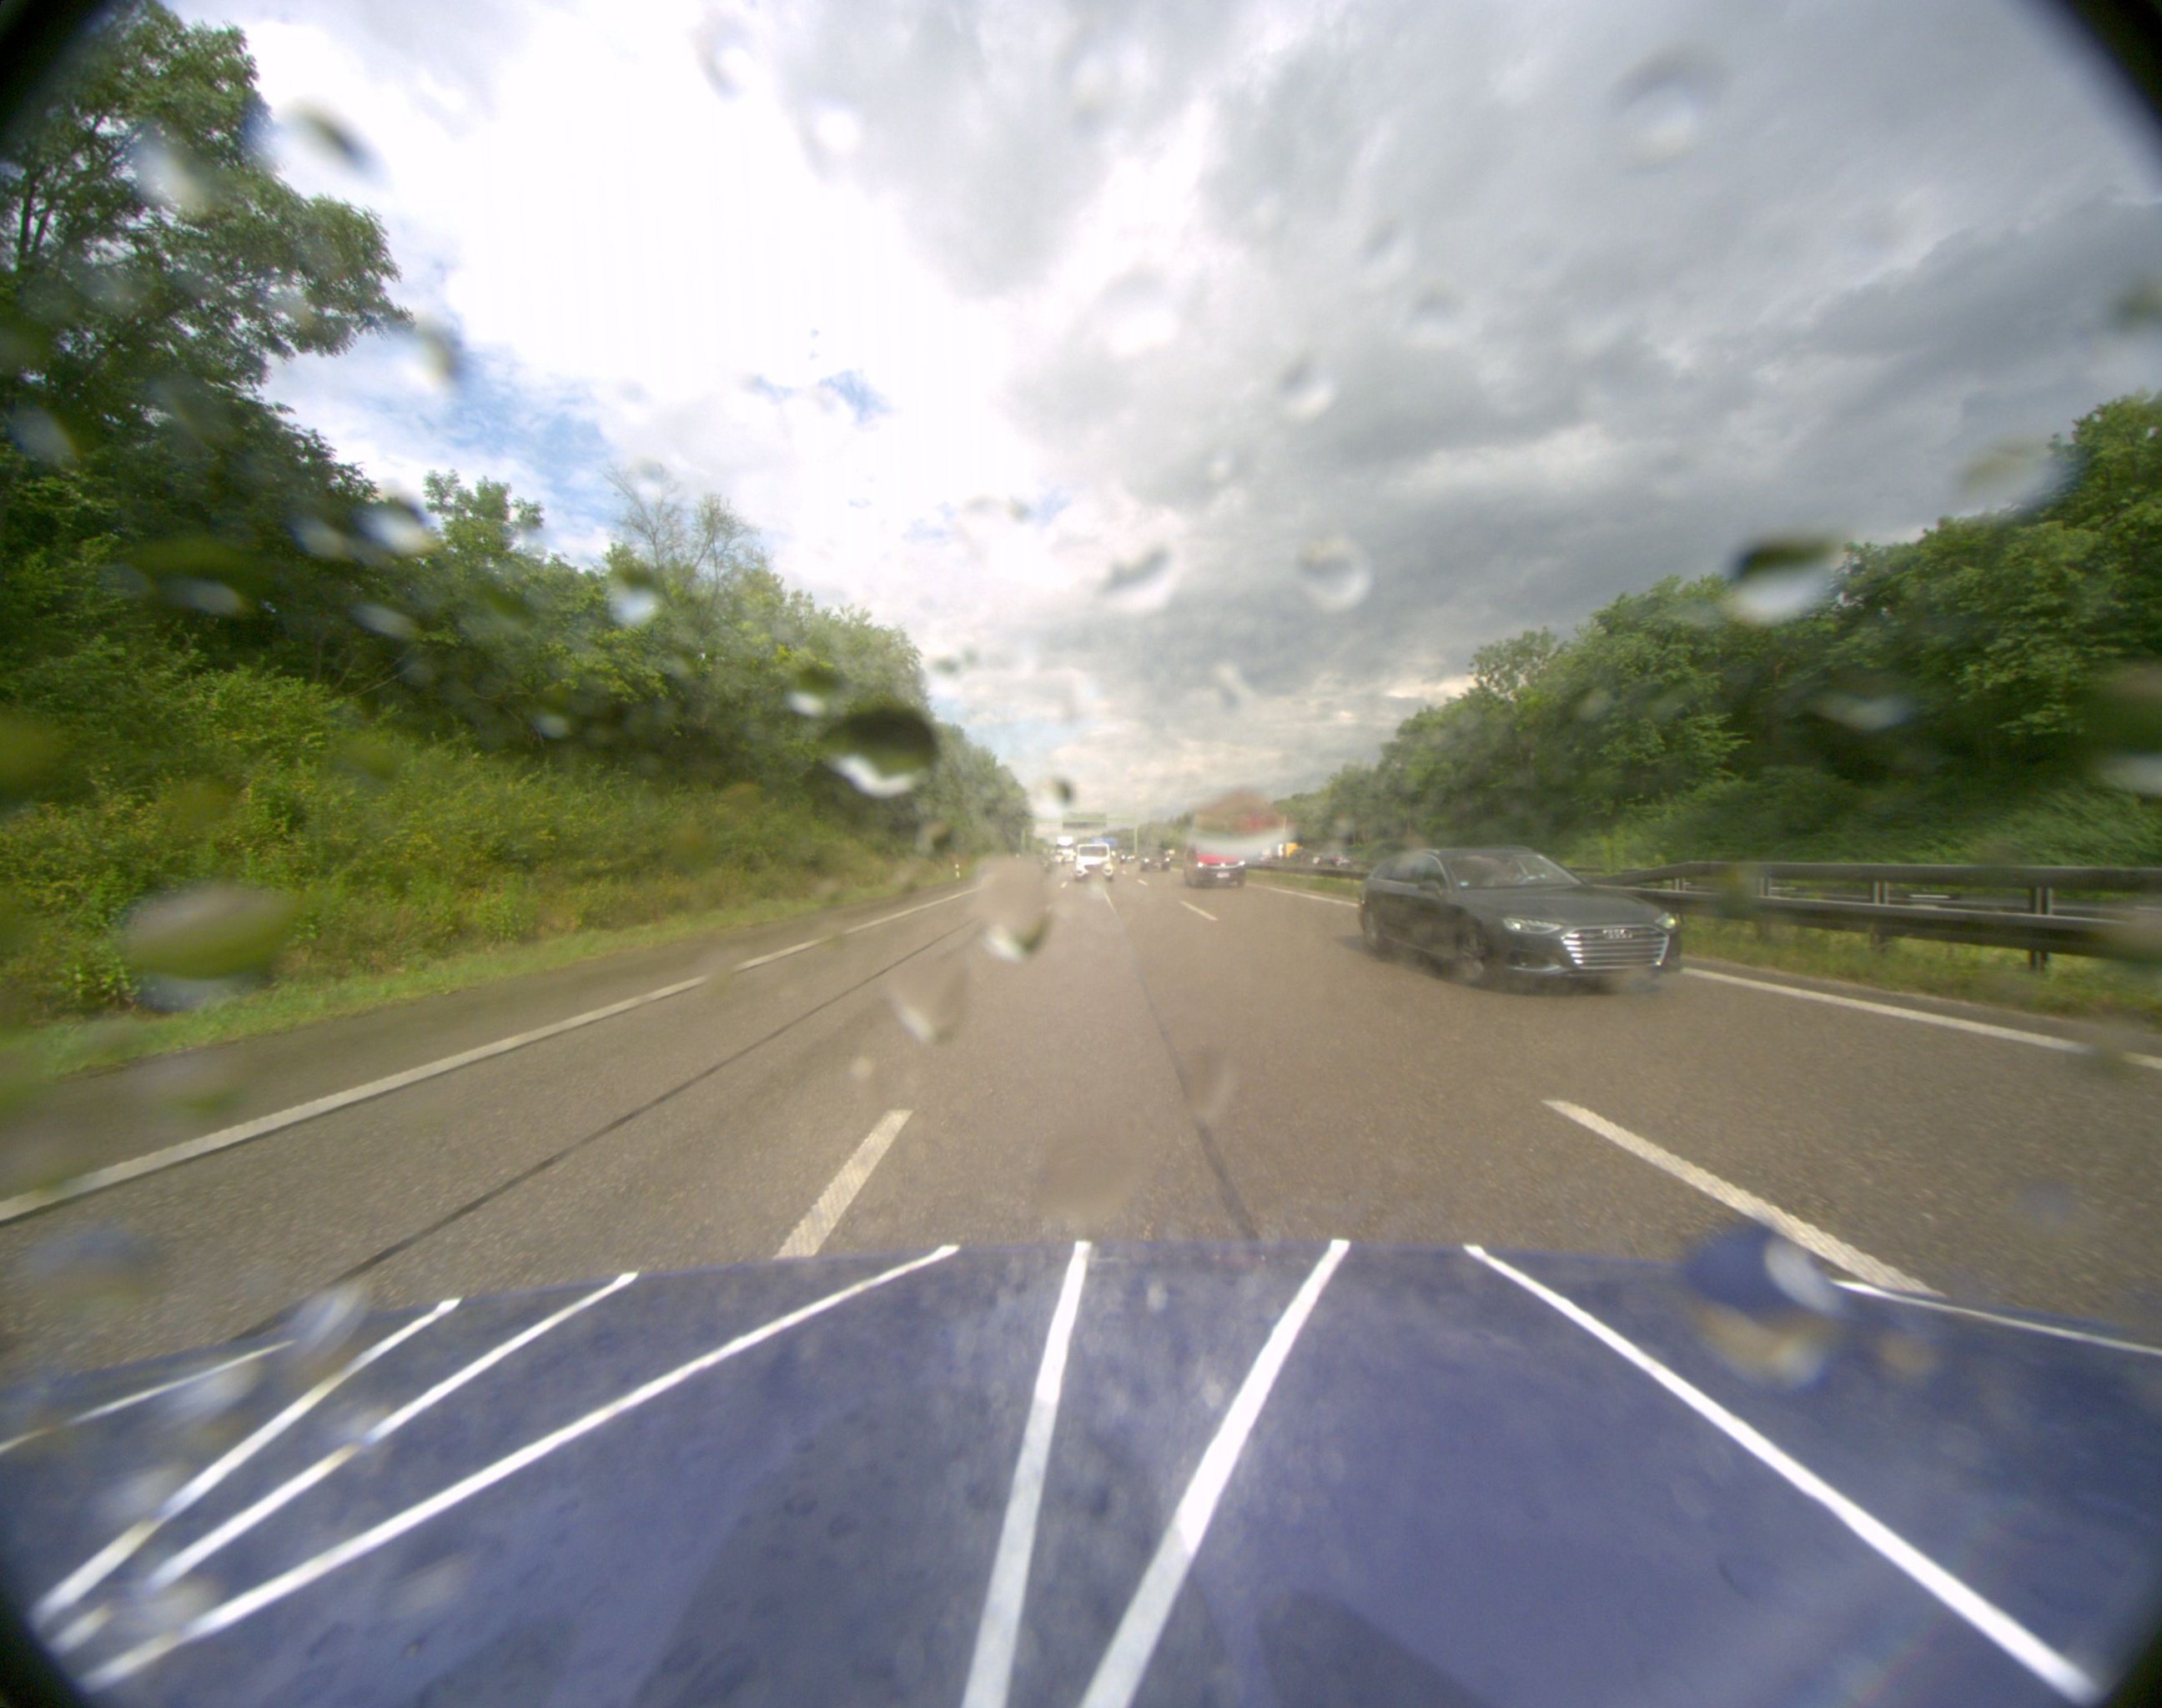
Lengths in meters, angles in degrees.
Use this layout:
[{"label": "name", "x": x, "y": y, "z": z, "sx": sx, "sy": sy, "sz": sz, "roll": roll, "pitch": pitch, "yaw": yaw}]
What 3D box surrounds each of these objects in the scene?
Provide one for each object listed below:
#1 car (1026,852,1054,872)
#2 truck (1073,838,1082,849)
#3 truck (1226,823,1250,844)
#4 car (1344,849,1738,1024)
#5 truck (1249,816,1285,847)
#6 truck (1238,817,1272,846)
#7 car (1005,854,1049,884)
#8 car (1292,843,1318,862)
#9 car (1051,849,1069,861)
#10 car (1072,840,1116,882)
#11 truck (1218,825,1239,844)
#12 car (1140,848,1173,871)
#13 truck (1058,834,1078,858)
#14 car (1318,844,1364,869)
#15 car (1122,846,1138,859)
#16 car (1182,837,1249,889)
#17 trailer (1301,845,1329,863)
[{"label": "car", "x": -3.214, "y": 0.605, "z": 61.030, "sx": 1.798, "sy": 1.410, "sz": 4.838, "roll": -2, "pitch": 1, "yaw": 2}, {"label": "truck", "x": -0.763, "y": -2.292, "z": 170.064, "sx": 1.933, "sy": 2.417, "sz": 5.948, "roll": -1, "pitch": 0, "yaw": 1}, {"label": "truck", "x": 37.780, "y": -4.871, "z": 182.836, "sx": 3.622, "sy": 4.693, "sz": 11.874, "roll": -2, "pitch": 1, "yaw": 2}, {"label": "car", "x": 4.794, "y": 0.701, "z": 8.960, "sx": 1.798, "sy": 1.410, "sz": 4.838, "roll": -2, "pitch": 1, "yaw": 2}, {"label": "truck", "x": 29.552, "y": -3.507, "z": 121.154, "sx": 3.622, "sy": 4.693, "sz": 9.802, "roll": -2, "pitch": 1, "yaw": 2}, {"label": "truck", "x": 30.605, "y": -3.920, "z": 134.425, "sx": 3.622, "sy": 4.693, "sz": 11.874, "roll": -2, "pitch": 1, "yaw": 2}, {"label": "car", "x": -2.820, "y": 0.748, "z": 40.435, "sx": 1.798, "sy": 1.410, "sz": 4.838, "roll": -2, "pitch": 1, "yaw": 2}, {"label": "car", "x": 23.108, "y": -0.176, "z": 78.438, "sx": 1.589, "sy": 1.816, "sz": 3.682, "roll": -2, "pitch": 1, "yaw": 1}, {"label": "car", "x": -2.589, "y": 0.107, "z": 94.601, "sx": 1.798, "sy": 1.410, "sz": 4.838, "roll": -2, "pitch": 1, "yaw": 2}, {"label": "car", "x": 0.727, "y": 0.300, "z": 40.532, "sx": 2.124, "sy": 1.989, "sz": 5.982, "roll": -2, "pitch": 1, "yaw": 2}, {"label": "truck", "x": 38.961, "y": -5.167, "z": 200.875, "sx": 3.622, "sy": 4.693, "sz": 11.874, "roll": -2, "pitch": 1, "yaw": 2}, {"label": "car", "x": 5.500, "y": 0.382, "z": 56.047, "sx": 2.009, "sy": 1.488, "sz": 4.838, "roll": -2, "pitch": 1, "yaw": 2}, {"label": "truck", "x": -2.078, "y": -1.389, "z": 126.499, "sx": 3.064, "sy": 3.827, "sz": 8.799, "roll": -1, "pitch": 0, "yaw": 1}, {"label": "car", "x": 18.870, "y": 0.171, "z": 55.279, "sx": 1.859, "sy": 1.653, "sz": 4.235, "roll": -2, "pitch": 1, "yaw": 1}, {"label": "car", "x": 5.994, "y": -0.186, "z": 93.896, "sx": 1.798, "sy": 1.410, "sz": 4.838, "roll": -2, "pitch": 1, "yaw": 2}, {"label": "car", "x": 5.291, "y": 0.286, "z": 30.523, "sx": 1.926, "sy": 1.855, "sz": 4.838, "roll": -2, "pitch": 1, "yaw": 2}, {"label": "trailer", "x": 23.070, "y": -0.057, "z": 75.024, "sx": 1.589, "sy": 1.653, "sz": 3.878, "roll": -2, "pitch": 1, "yaw": 1}]
